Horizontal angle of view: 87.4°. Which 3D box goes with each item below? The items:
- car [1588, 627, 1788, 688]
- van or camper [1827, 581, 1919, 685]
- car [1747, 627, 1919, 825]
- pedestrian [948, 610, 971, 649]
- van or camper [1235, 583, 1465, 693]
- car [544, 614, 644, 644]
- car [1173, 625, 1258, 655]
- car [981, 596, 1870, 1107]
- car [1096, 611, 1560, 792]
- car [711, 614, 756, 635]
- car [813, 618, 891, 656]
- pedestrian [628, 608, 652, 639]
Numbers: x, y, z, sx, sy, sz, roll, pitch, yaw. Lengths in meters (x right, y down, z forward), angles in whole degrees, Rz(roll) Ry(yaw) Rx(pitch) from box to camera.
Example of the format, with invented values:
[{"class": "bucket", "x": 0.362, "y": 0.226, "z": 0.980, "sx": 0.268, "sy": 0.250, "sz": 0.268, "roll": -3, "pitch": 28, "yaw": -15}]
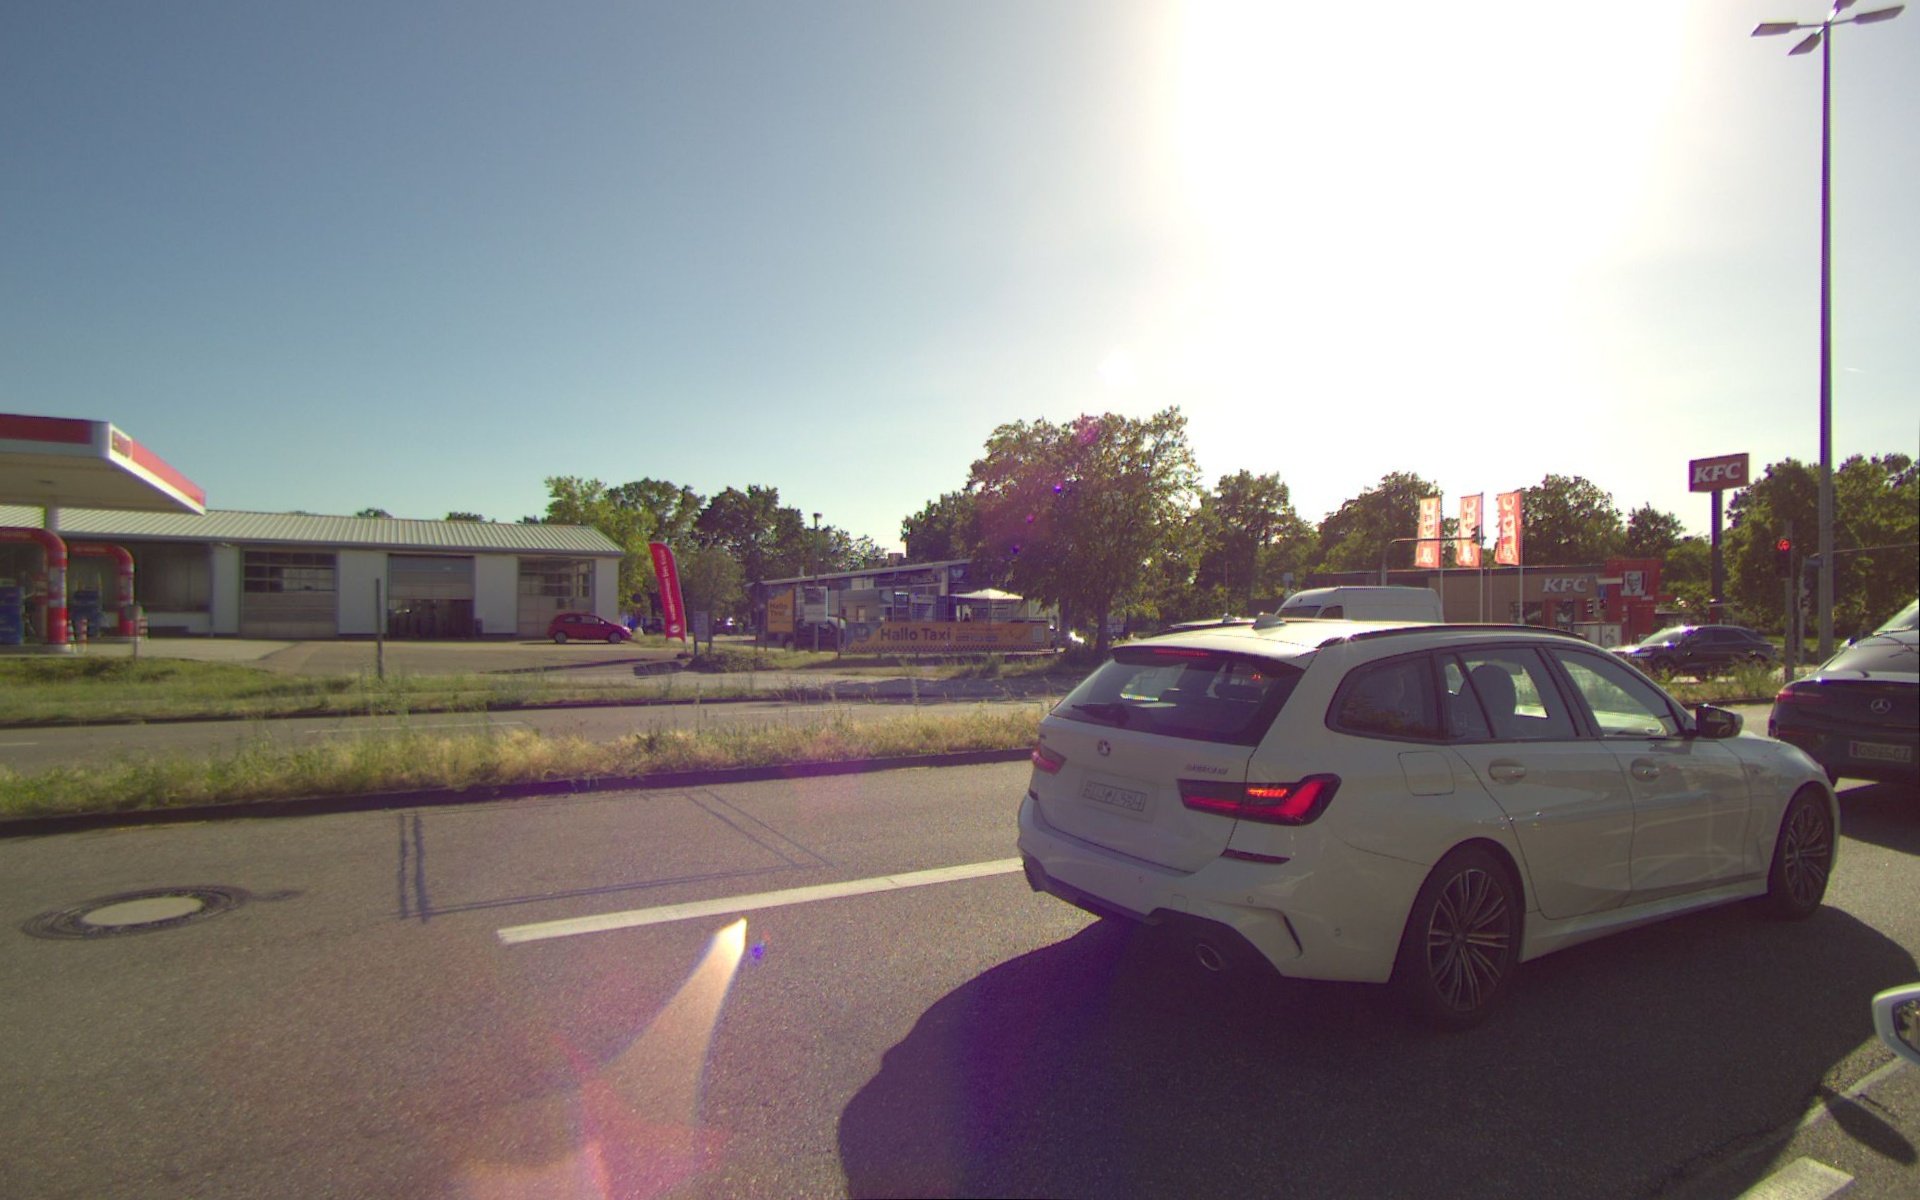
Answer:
[{"class": "car", "x": 21.027, "y": 1.641, "z": 29.117, "sx": 4.527, "sy": 1.675, "sz": 1.998, "roll": 1, "pitch": -1, "yaw": -6}, {"class": "van or camper", "x": 26.526, "y": 0.863, "z": 25.369, "sx": 6.623, "sy": 2.606, "sz": 2.184, "roll": 0, "pitch": -1, "yaw": 22}, {"class": "car", "x": 8.808, "y": 0.965, "z": 8.620, "sx": 4.409, "sy": 1.433, "sz": 1.760, "roll": 1, "pitch": -1, "yaw": -30}, {"class": "pedestrian", "x": -0.014, "y": 1.423, "z": 48.399, "sx": 0.802, "sy": 1.828, "sz": 0.953, "roll": 0, "pitch": -1, "yaw": 24}, {"class": "van or camper", "x": 10.273, "y": 0.981, "z": 26.425, "sx": 5.868, "sy": 2.686, "sz": 1.990, "roll": 1, "pitch": -1, "yaw": -21}, {"class": "car", "x": -18.029, "y": 1.427, "z": 49.538, "sx": 4.486, "sy": 1.458, "sz": 1.741, "roll": 1, "pitch": -1, "yaw": -26}, {"class": "car", "x": 13.796, "y": 2.137, "z": 54.517, "sx": 1.840, "sy": 1.449, "sz": 4.700, "roll": 0, "pitch": 0, "yaw": -28}, {"class": "car", "x": 2.429, "y": 0.797, "z": 4.899, "sx": 4.409, "sy": 1.529, "sz": 1.760, "roll": 1, "pitch": -1, "yaw": -30}, {"class": "car", "x": 3.653, "y": 0.853, "z": 9.851, "sx": 4.347, "sy": 1.448, "sz": 1.850, "roll": 1, "pitch": -1, "yaw": -27}, {"class": "car", "x": -19.888, "y": 2.149, "z": 88.347, "sx": 2.085, "sy": 1.840, "sz": 4.000, "roll": 0, "pitch": -1, "yaw": 20}, {"class": "car", "x": -3.989, "y": 1.328, "z": 36.835, "sx": 1.625, "sy": 1.301, "sz": 3.122, "roll": 1, "pitch": -1, "yaw": -32}, {"class": "pedestrian", "x": -18.441, "y": 1.356, "z": 57.810, "sx": 1.087, "sy": 1.787, "sz": 1.150, "roll": 1, "pitch": -1, "yaw": -31}]
